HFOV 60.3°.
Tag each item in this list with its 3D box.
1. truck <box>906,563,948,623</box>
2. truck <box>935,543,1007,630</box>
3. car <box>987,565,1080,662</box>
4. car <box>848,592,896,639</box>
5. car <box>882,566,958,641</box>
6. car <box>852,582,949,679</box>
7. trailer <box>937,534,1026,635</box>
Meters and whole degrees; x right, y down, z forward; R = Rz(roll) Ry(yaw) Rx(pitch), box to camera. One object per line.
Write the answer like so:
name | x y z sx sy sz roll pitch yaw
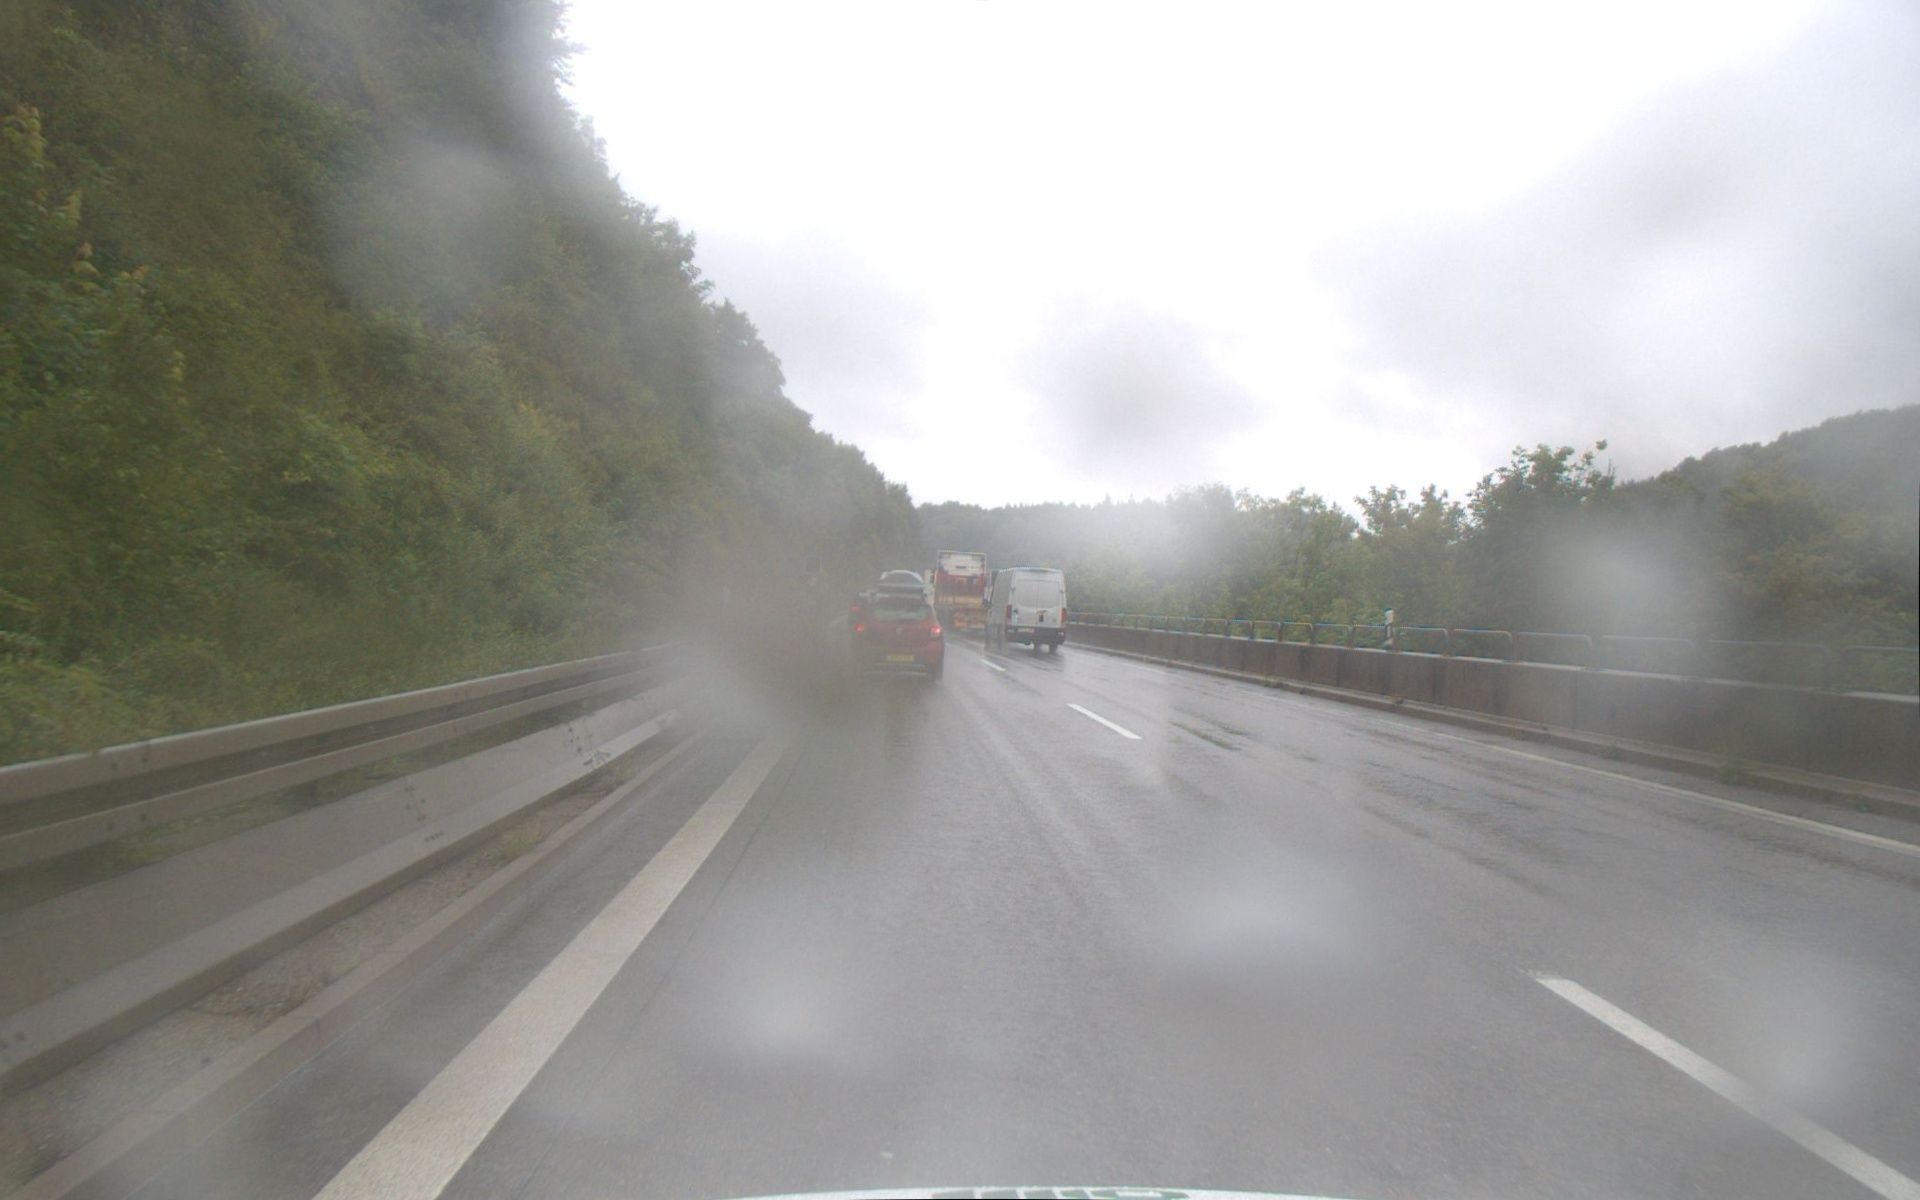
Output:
truck | -2.752 -0.523 135.068 3.158 4.764 8.294 1 -1 -3
truck | 0.515 -0.626 82.776 3.155 4.047 5.435 3 0 -3
car | 2.334 0.423 54.929 2.163 2.842 7.377 4 0 -3
car | -3.410 0.578 63.915 1.787 1.726 3.997 1 0 -3
car | -0.973 0.094 40.889 1.795 1.745 3.644 1 -1 -1
car | -1.191 0.568 31.519 1.723 1.714 3.997 1 -1 -4
trailer | 0.807 -0.639 75.823 3.154 4.068 13.517 3 0 -2
